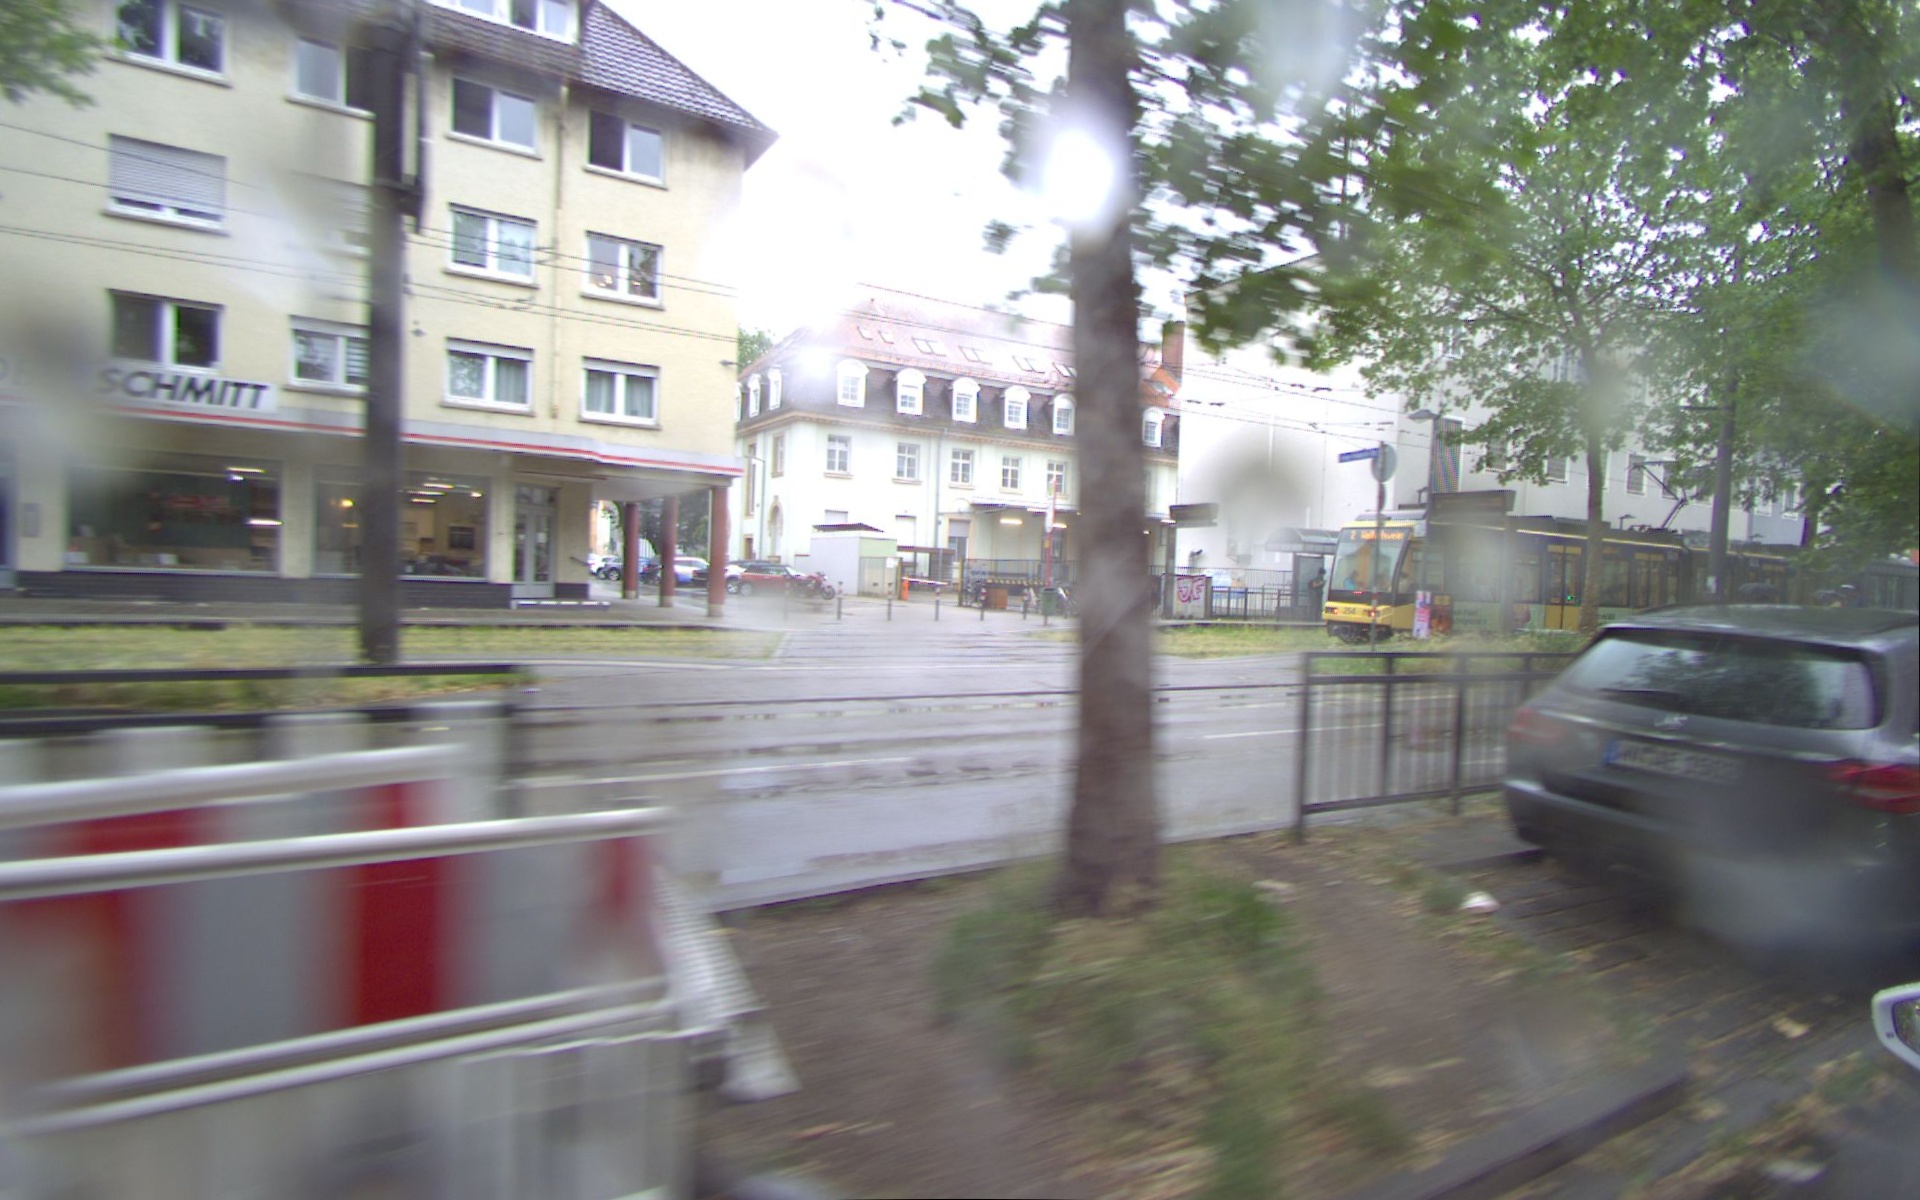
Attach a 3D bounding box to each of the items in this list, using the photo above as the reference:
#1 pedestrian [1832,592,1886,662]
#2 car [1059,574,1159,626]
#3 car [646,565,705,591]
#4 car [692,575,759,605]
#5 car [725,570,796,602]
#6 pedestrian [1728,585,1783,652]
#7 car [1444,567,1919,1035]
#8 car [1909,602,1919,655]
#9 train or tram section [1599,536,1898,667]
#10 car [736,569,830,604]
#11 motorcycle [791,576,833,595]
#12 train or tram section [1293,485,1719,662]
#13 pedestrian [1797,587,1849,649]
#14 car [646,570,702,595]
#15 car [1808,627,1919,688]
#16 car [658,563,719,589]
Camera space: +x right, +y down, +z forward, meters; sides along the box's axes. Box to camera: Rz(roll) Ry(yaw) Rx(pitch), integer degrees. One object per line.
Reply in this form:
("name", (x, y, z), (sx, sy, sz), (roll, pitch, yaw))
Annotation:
("pedestrian", (27.070, 0.801, 30.252), (0.810, 2.041, 0.866), (1, 2, -27))
("car", (5.071, -0.018, 34.629), (1.589, 1.562, 3.663), (1, 2, -26))
("car", (-15.875, -1.253, 56.175), (2.970, 1.242, 1.343), (3, 3, -10))
("car", (-11.436, -0.506, 49.112), (2.966, 1.242, 1.345), (3, 3, -2))
("car", (-9.040, -0.626, 45.644), (2.966, 1.242, 1.345), (3, 3, -2))
("pedestrian", (21.168, 0.484, 26.723), (0.862, 1.726, 0.813), (1, 2, -31))
("car", (4.809, 0.727, 5.298), (4.561, 1.524, 1.819), (2, 3, -32))
("car", (31.942, 0.959, 31.633), (3.955, 1.634, 1.983), (1, 2, -32))
("train or tram section", (27.365, 0.238, 34.384), (14.512, 3.605, 3.089), (3, 1, -32))
("car", (-7.535, -0.592, 42.979), (3.778, 1.242, 1.345), (3, 3, -3))
("motorcycle", (-6.078, -0.596, 41.345), (1.642, 0.719, 0.521), (3, 1, -3))
("train or tram section", (15.066, -0.389, 26.774), (14.416, 3.605, 3.089), (3, 1, -32))
("pedestrian", (24.858, 0.520, 28.940), (0.862, 1.726, 0.813), (1, 2, -31))
("car", (-16.730, -1.048, 58.875), (2.970, 1.242, 1.343), (3, 3, -10))
("car", (25.061, 1.538, 27.443), (3.713, 1.361, 1.729), (1, 5, -32))
("car", (-14.600, -1.303, 54.097), (2.970, 1.242, 1.343), (3, 3, -10))
